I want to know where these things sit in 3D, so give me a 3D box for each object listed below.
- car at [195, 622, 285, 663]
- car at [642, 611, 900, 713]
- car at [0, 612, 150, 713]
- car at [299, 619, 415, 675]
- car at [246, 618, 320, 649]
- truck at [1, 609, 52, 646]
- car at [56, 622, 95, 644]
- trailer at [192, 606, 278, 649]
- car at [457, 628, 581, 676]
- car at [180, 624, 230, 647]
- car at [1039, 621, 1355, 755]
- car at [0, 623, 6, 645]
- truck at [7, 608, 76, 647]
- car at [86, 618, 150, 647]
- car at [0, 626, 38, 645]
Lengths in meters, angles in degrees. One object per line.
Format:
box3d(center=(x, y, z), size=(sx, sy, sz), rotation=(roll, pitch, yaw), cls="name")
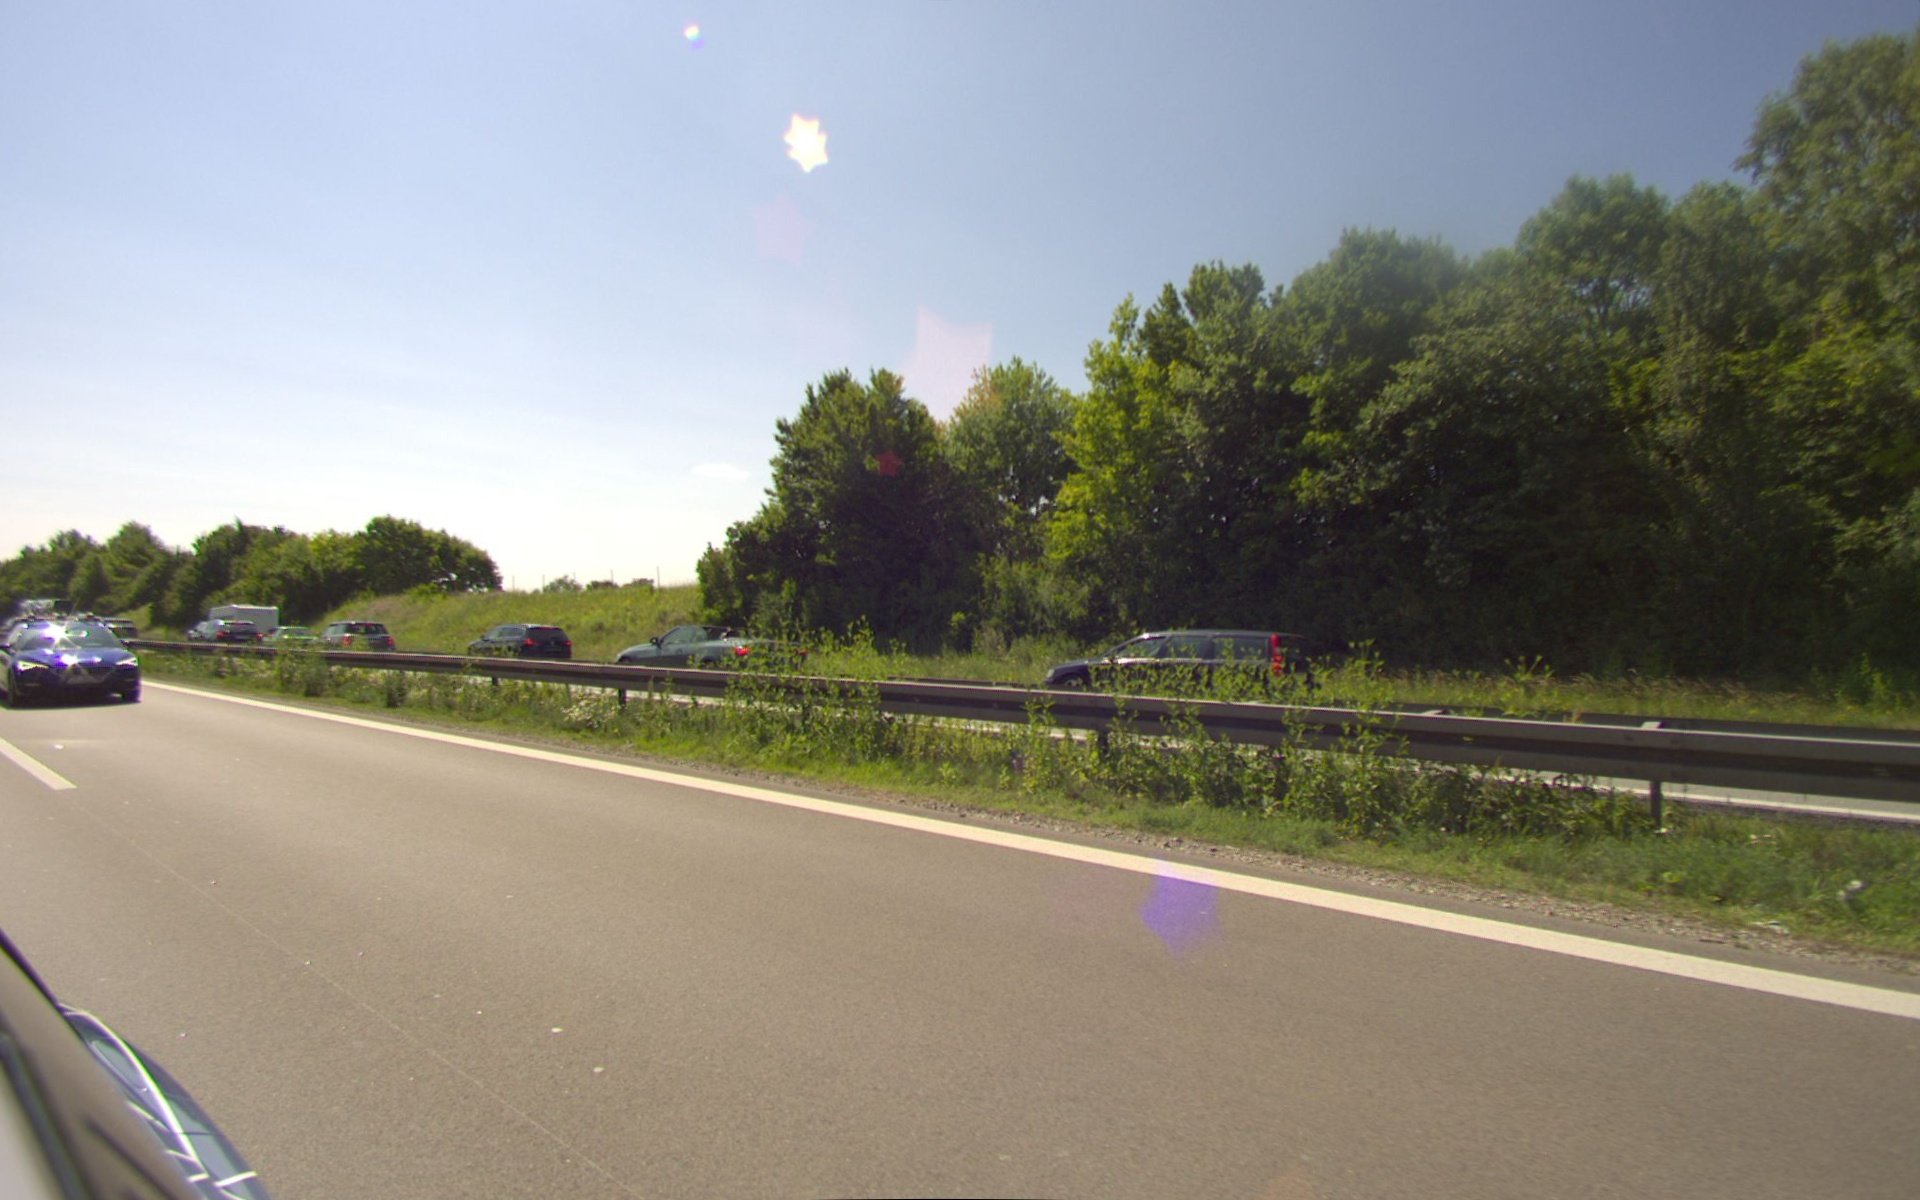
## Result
box3d(center=(-29.052, 1.689, 40.795), size=(4.614, 1.528, 1.892), rotation=(-1, -3, 41), cls="car")
box3d(center=(-3.599, 1.058, 18.615), size=(5.087, 1.617, 1.972), rotation=(-1, -2, 42), cls="car")
box3d(center=(-16.499, 1.060, 18.547), size=(4.238, 1.638, 1.880), rotation=(-1, -2, 41), cls="car")
box3d(center=(-19.100, 1.443, 31.987), size=(4.420, 1.586, 1.830), rotation=(0, -1, 41), cls="car")
box3d(center=(-32.261, 1.579, 48.170), size=(4.801, 1.438, 1.726), rotation=(-1, -2, 41), cls="car")
box3d(center=(-108.840, 3.224, 117.966), size=(7.387, 4.081, 3.208), rotation=(-1, -3, 39), cls="truck")
box3d(center=(-74.218, 2.764, 84.896), size=(4.378, 1.823, 1.795), rotation=(-1, -2, 40), cls="car")
box3d(center=(-48.423, 1.842, 67.489), size=(8.625, 2.708, 2.703), rotation=(-1, -2, 41), cls="trailer")
box3d(center=(-14.680, 1.668, 33.573), size=(4.657, 1.407, 1.973), rotation=(0, -1, 41), cls="car")
box3d(center=(-53.528, 2.485, 71.710), size=(4.807, 1.619, 1.827), rotation=(-1, -2, 41), cls="car")
box3d(center=(3.765, 1.299, 16.633), size=(4.694, 1.818, 1.973), rotation=(0, -1, 41), cls="car")
box3d(center=(-89.746, 3.109, 93.329), size=(4.911, 2.029, 1.973), rotation=(0, -1, 40), cls="car")
box3d(center=(-102.601, 3.098, 112.890), size=(16.656, 4.081, 3.180), rotation=(-1, -3, 39), cls="truck")
box3d(center=(-46.004, 1.768, 55.256), size=(4.614, 1.528, 1.892), rotation=(-1, -3, 41), cls="car")
box3d(center=(-71.417, 2.712, 76.803), size=(3.998, 1.401, 1.698), rotation=(-1, -2, 41), cls="car")
